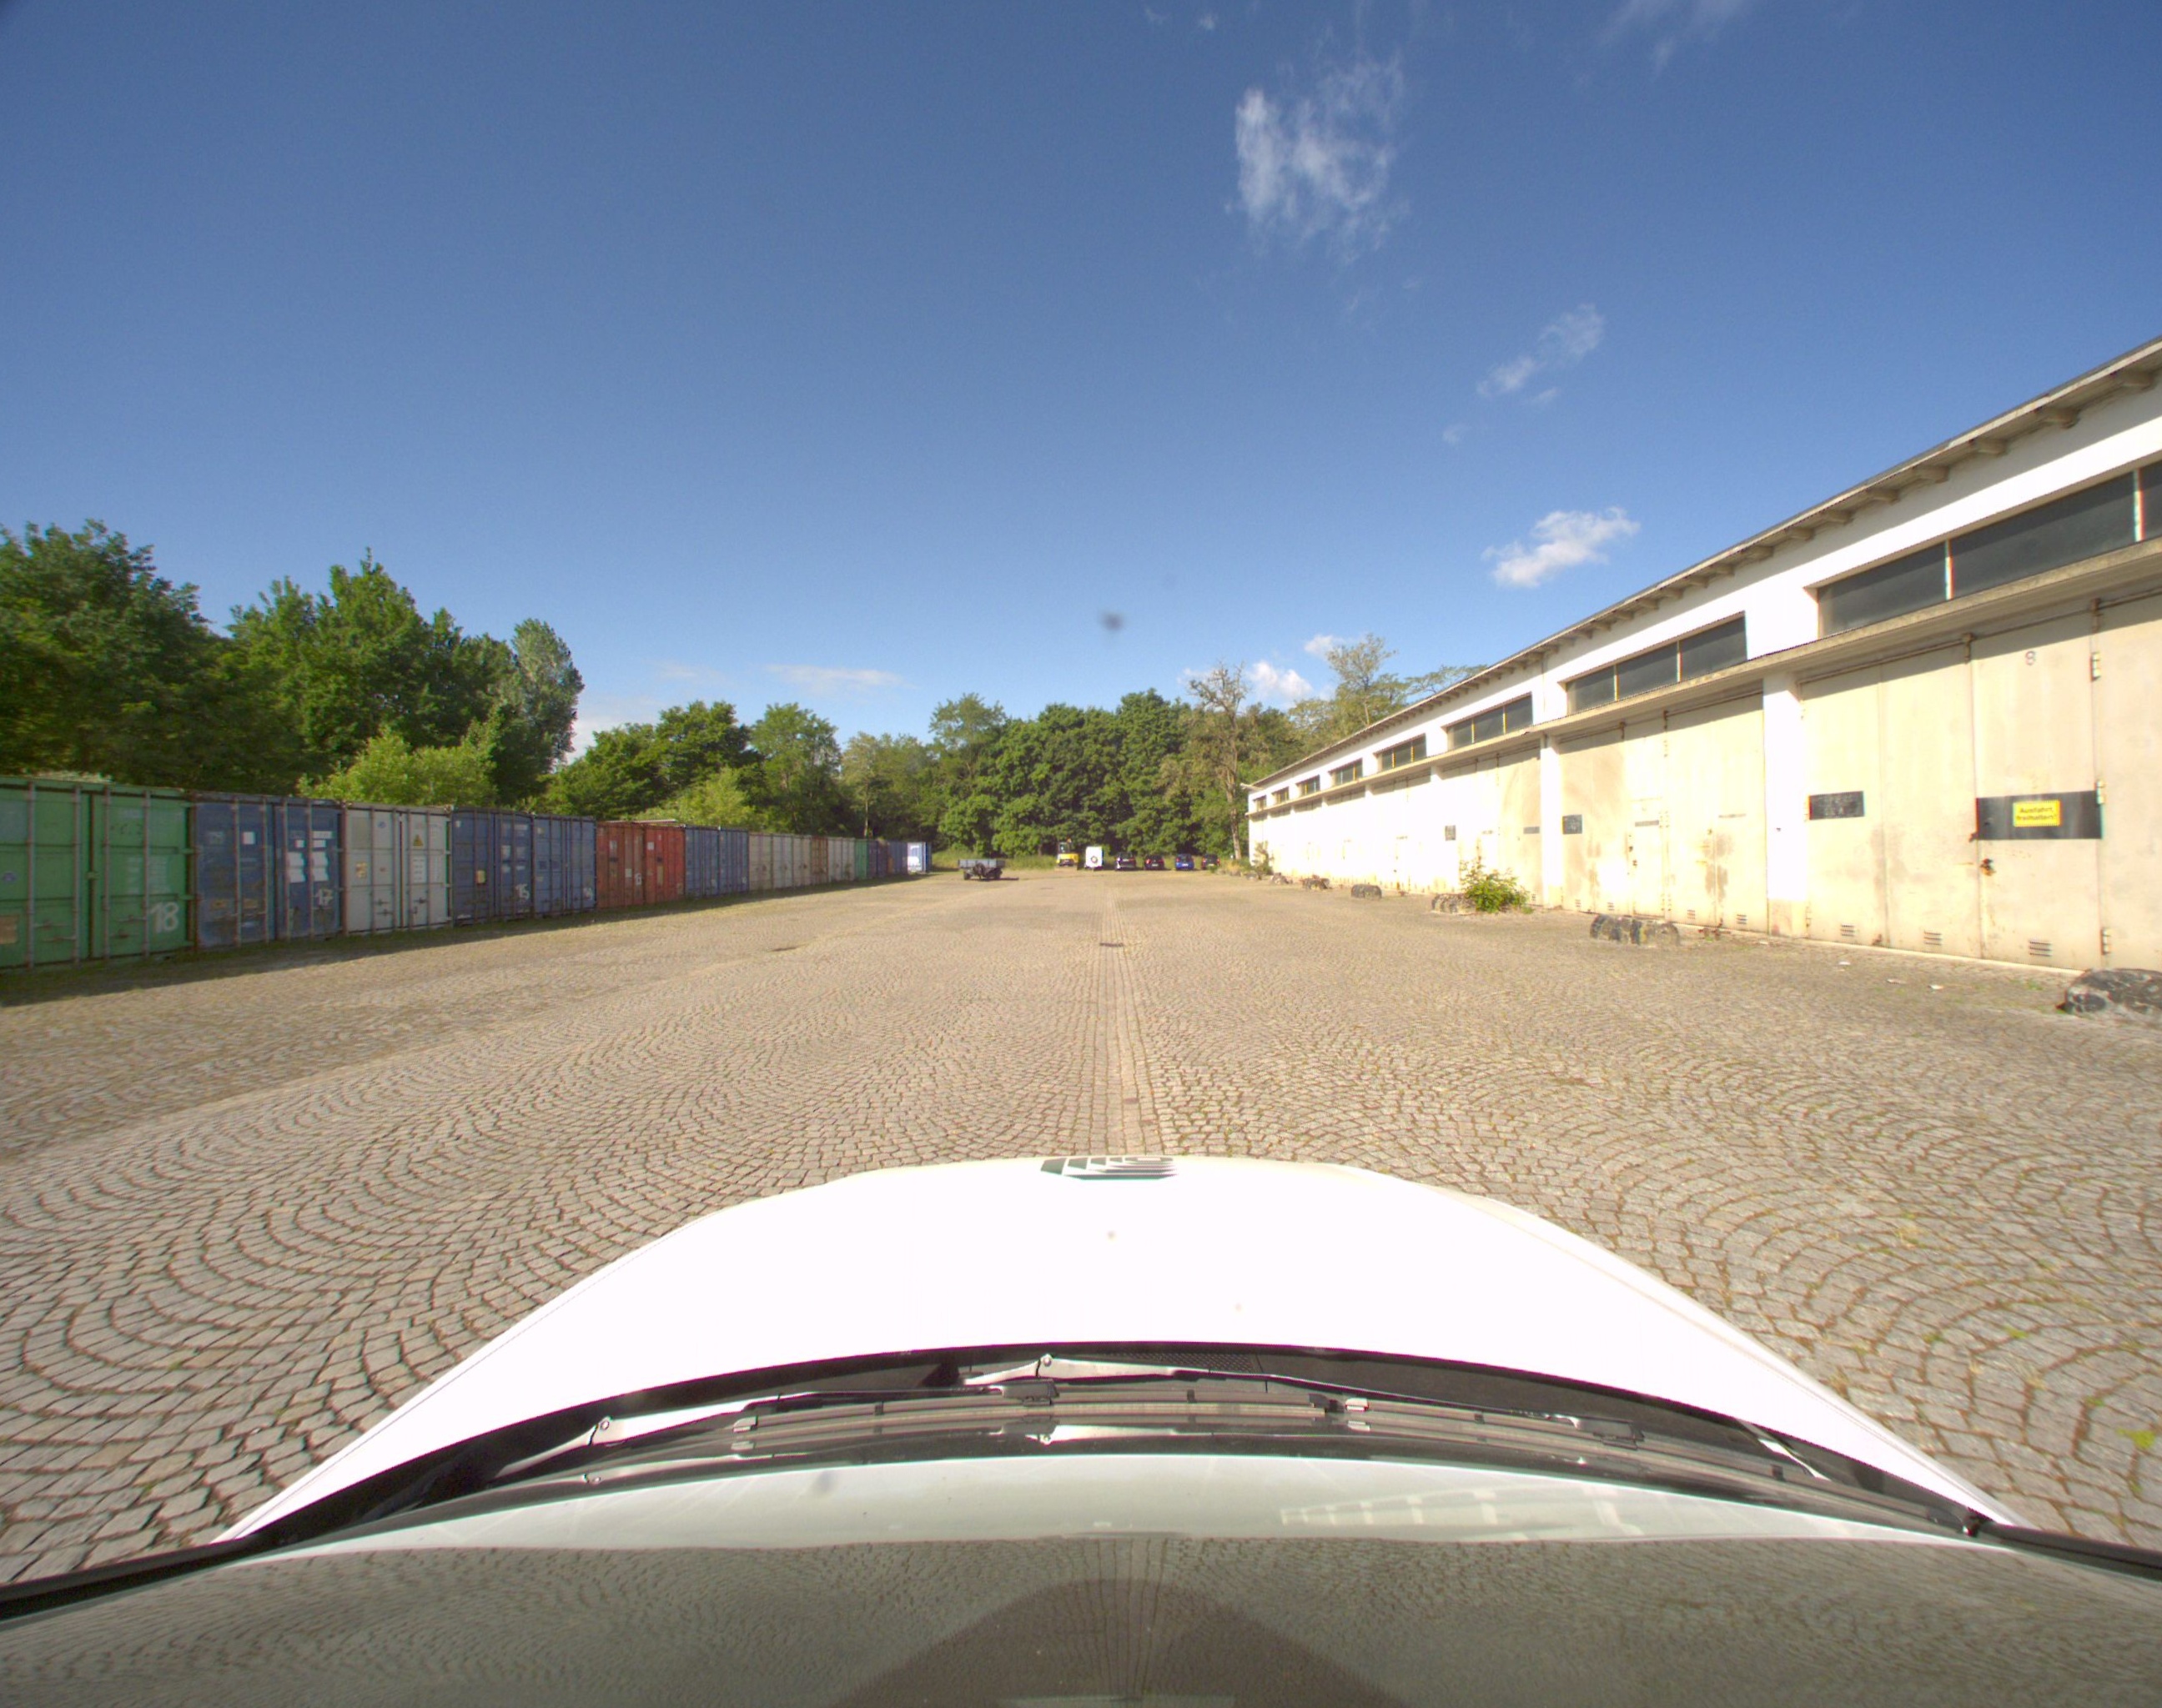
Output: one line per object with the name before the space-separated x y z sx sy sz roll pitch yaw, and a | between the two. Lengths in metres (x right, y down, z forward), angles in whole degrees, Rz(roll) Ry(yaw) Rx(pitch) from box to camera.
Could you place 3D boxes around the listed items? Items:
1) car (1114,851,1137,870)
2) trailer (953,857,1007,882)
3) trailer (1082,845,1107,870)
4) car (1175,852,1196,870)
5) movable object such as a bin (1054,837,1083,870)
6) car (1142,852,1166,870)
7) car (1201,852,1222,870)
car | 3.886 0.553 71.103 1.857 1.589 4.297 0 1 1
trailer | -6.536 0.968 53.573 2.696 1.465 6.247 0 1 0
trailer | 1.260 0.279 73.534 2.185 2.094 5.753 0 1 1
car | 9.136 0.615 71.314 1.735 1.436 4.191 0 1 7
movable object such as a bin | -1.099 -0.093 74.172 2.297 2.896 5.755 0 1 2
car | 6.380 0.593 71.426 1.857 1.470 4.297 0 1 1
car | 11.622 0.615 72.679 1.734 1.436 4.193 0 1 8
